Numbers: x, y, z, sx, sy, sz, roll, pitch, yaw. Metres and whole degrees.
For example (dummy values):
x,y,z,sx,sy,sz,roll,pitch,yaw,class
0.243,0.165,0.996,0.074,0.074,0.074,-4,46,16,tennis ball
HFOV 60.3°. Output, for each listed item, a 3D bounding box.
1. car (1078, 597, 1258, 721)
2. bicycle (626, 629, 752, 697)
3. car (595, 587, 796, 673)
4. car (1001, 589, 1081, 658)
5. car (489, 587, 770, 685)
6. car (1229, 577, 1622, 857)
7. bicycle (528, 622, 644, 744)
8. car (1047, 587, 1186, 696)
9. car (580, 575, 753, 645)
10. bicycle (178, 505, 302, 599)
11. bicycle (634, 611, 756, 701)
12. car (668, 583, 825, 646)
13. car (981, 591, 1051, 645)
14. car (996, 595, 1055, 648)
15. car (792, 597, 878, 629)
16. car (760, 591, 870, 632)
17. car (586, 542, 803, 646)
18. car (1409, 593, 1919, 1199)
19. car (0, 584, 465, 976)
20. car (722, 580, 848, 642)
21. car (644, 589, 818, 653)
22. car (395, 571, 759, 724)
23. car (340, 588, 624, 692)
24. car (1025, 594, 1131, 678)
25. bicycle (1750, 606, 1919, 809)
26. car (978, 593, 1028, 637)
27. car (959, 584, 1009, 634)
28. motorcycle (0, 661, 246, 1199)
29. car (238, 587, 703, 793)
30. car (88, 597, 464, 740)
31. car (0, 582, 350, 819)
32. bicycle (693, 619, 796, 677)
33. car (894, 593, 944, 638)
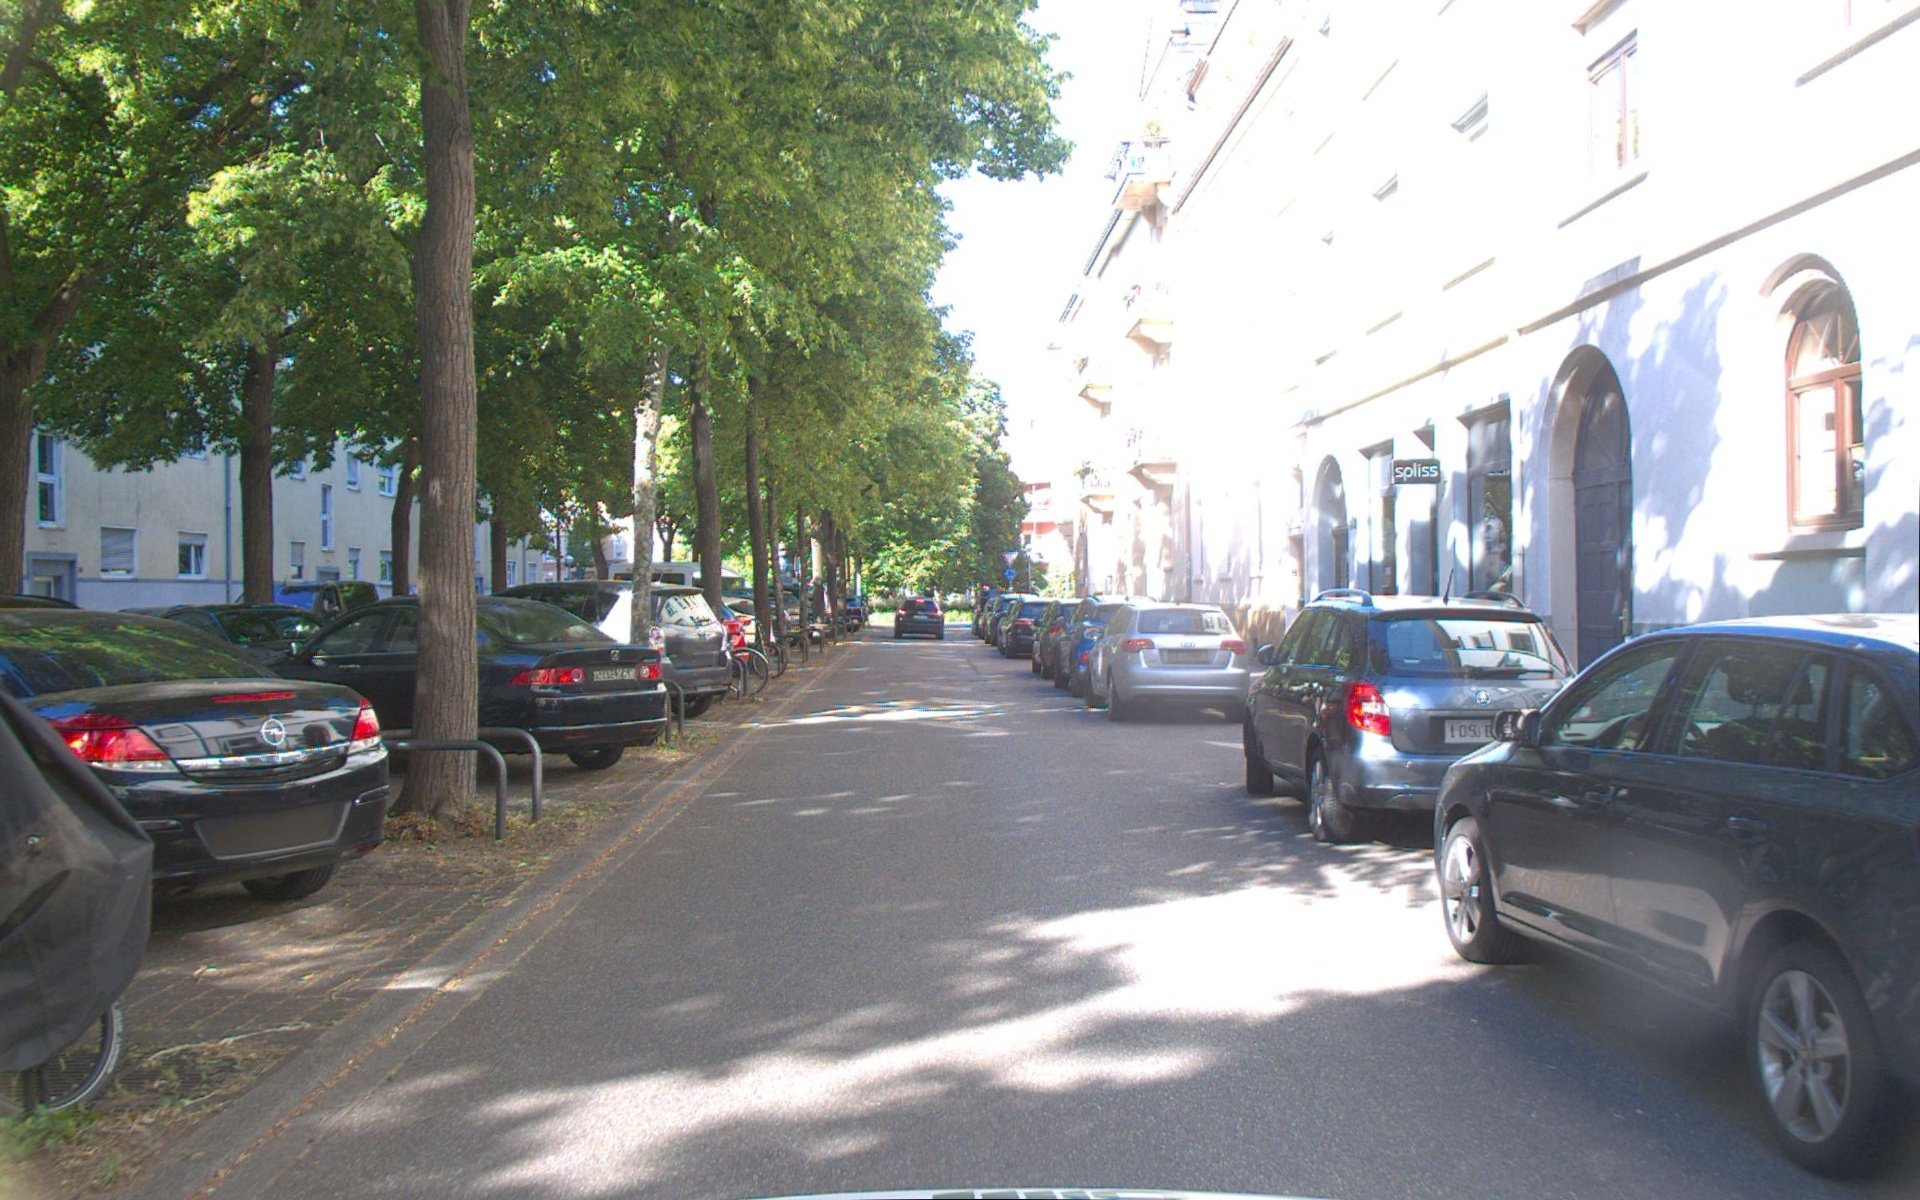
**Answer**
x,y,z,sx,sy,sz,roll,pitch,yaw,class
2.613,0.692,21.669,1.734,1.456,4.290,0,0,-1,car
-3.984,0.915,24.304,1.858,0.935,0.379,1,0,18,bicycle
-5.334,0.573,33.370,3.608,1.624,1.772,1,0,24,car
1.990,0.557,41.843,1.768,1.591,4.320,-1,0,0,car
-5.576,0.565,27.784,4.525,1.512,1.759,1,0,27,car
2.966,0.658,11.384,1.548,1.578,4.041,0,0,0,car
-3.766,0.805,16.766,0.418,1.150,1.680,0,0,14,bicycle
2.431,0.606,26.560,1.731,1.579,4.182,-1,0,-1,car
-7.898,0.291,44.491,4.293,1.808,1.897,-1,-1,26,car
-9.795,-0.631,22.572,0.348,1.221,1.801,1,0,22,bicycle
-3.634,0.755,22.676,1.650,1.179,0.379,1,0,18,bicycle
-6.006,0.389,46.459,4.179,1.670,1.653,1,0,27,car
1.790,0.553,54.306,1.827,1.672,4.488,1,0,-4,car
1.877,0.599,48.161,1.557,1.440,3.631,1,0,0,car
-6.035,0.655,79.793,4.063,1.507,1.767,-1,-1,39,car
-5.663,0.467,64.555,4.020,1.492,1.859,1,-1,-15,car
-8.123,-0.137,50.784,5.937,2.668,2.457,-5,-2,14,car
2.961,0.749,5.599,1.567,1.518,3.964,-1,0,-4,car
-4.450,0.688,7.905,4.067,1.450,1.711,-1,-1,31,car
-5.732,0.350,53.980,3.771,1.921,1.838,-1,1,34,car
-5.648,0.518,40.740,4.017,1.507,1.729,0,-1,28,car
-4.634,0.514,20.002,3.995,1.682,1.861,1,0,26,car
-7.344,0.575,25.397,4.023,1.499,1.869,0,0,27,car
2.198,0.643,31.705,1.658,1.493,4.004,1,0,-1,car
5.839,0.648,10.589,0.399,1.207,1.843,0,0,-10,bicycle
1.609,0.549,62.628,1.612,1.564,3.999,2,0,-2,car
0.944,0.345,67.545,1.765,1.903,4.271,3,0,-2,car
-3.181,0.808,4.520,2.101,1.251,0.882,0,0,7,motorcycle
-4.199,0.701,13.976,3.937,1.500,1.621,-1,0,34,car
-7.599,0.678,18.287,4.109,1.415,1.813,0,0,32,car
-6.673,0.645,12.145,3.905,1.512,1.830,0,-1,22,car
-3.820,0.844,29.300,1.772,1.011,0.426,-1,0,14,bicycle
-1.463,0.536,59.992,1.679,1.509,4.144,-1,0,0,car
